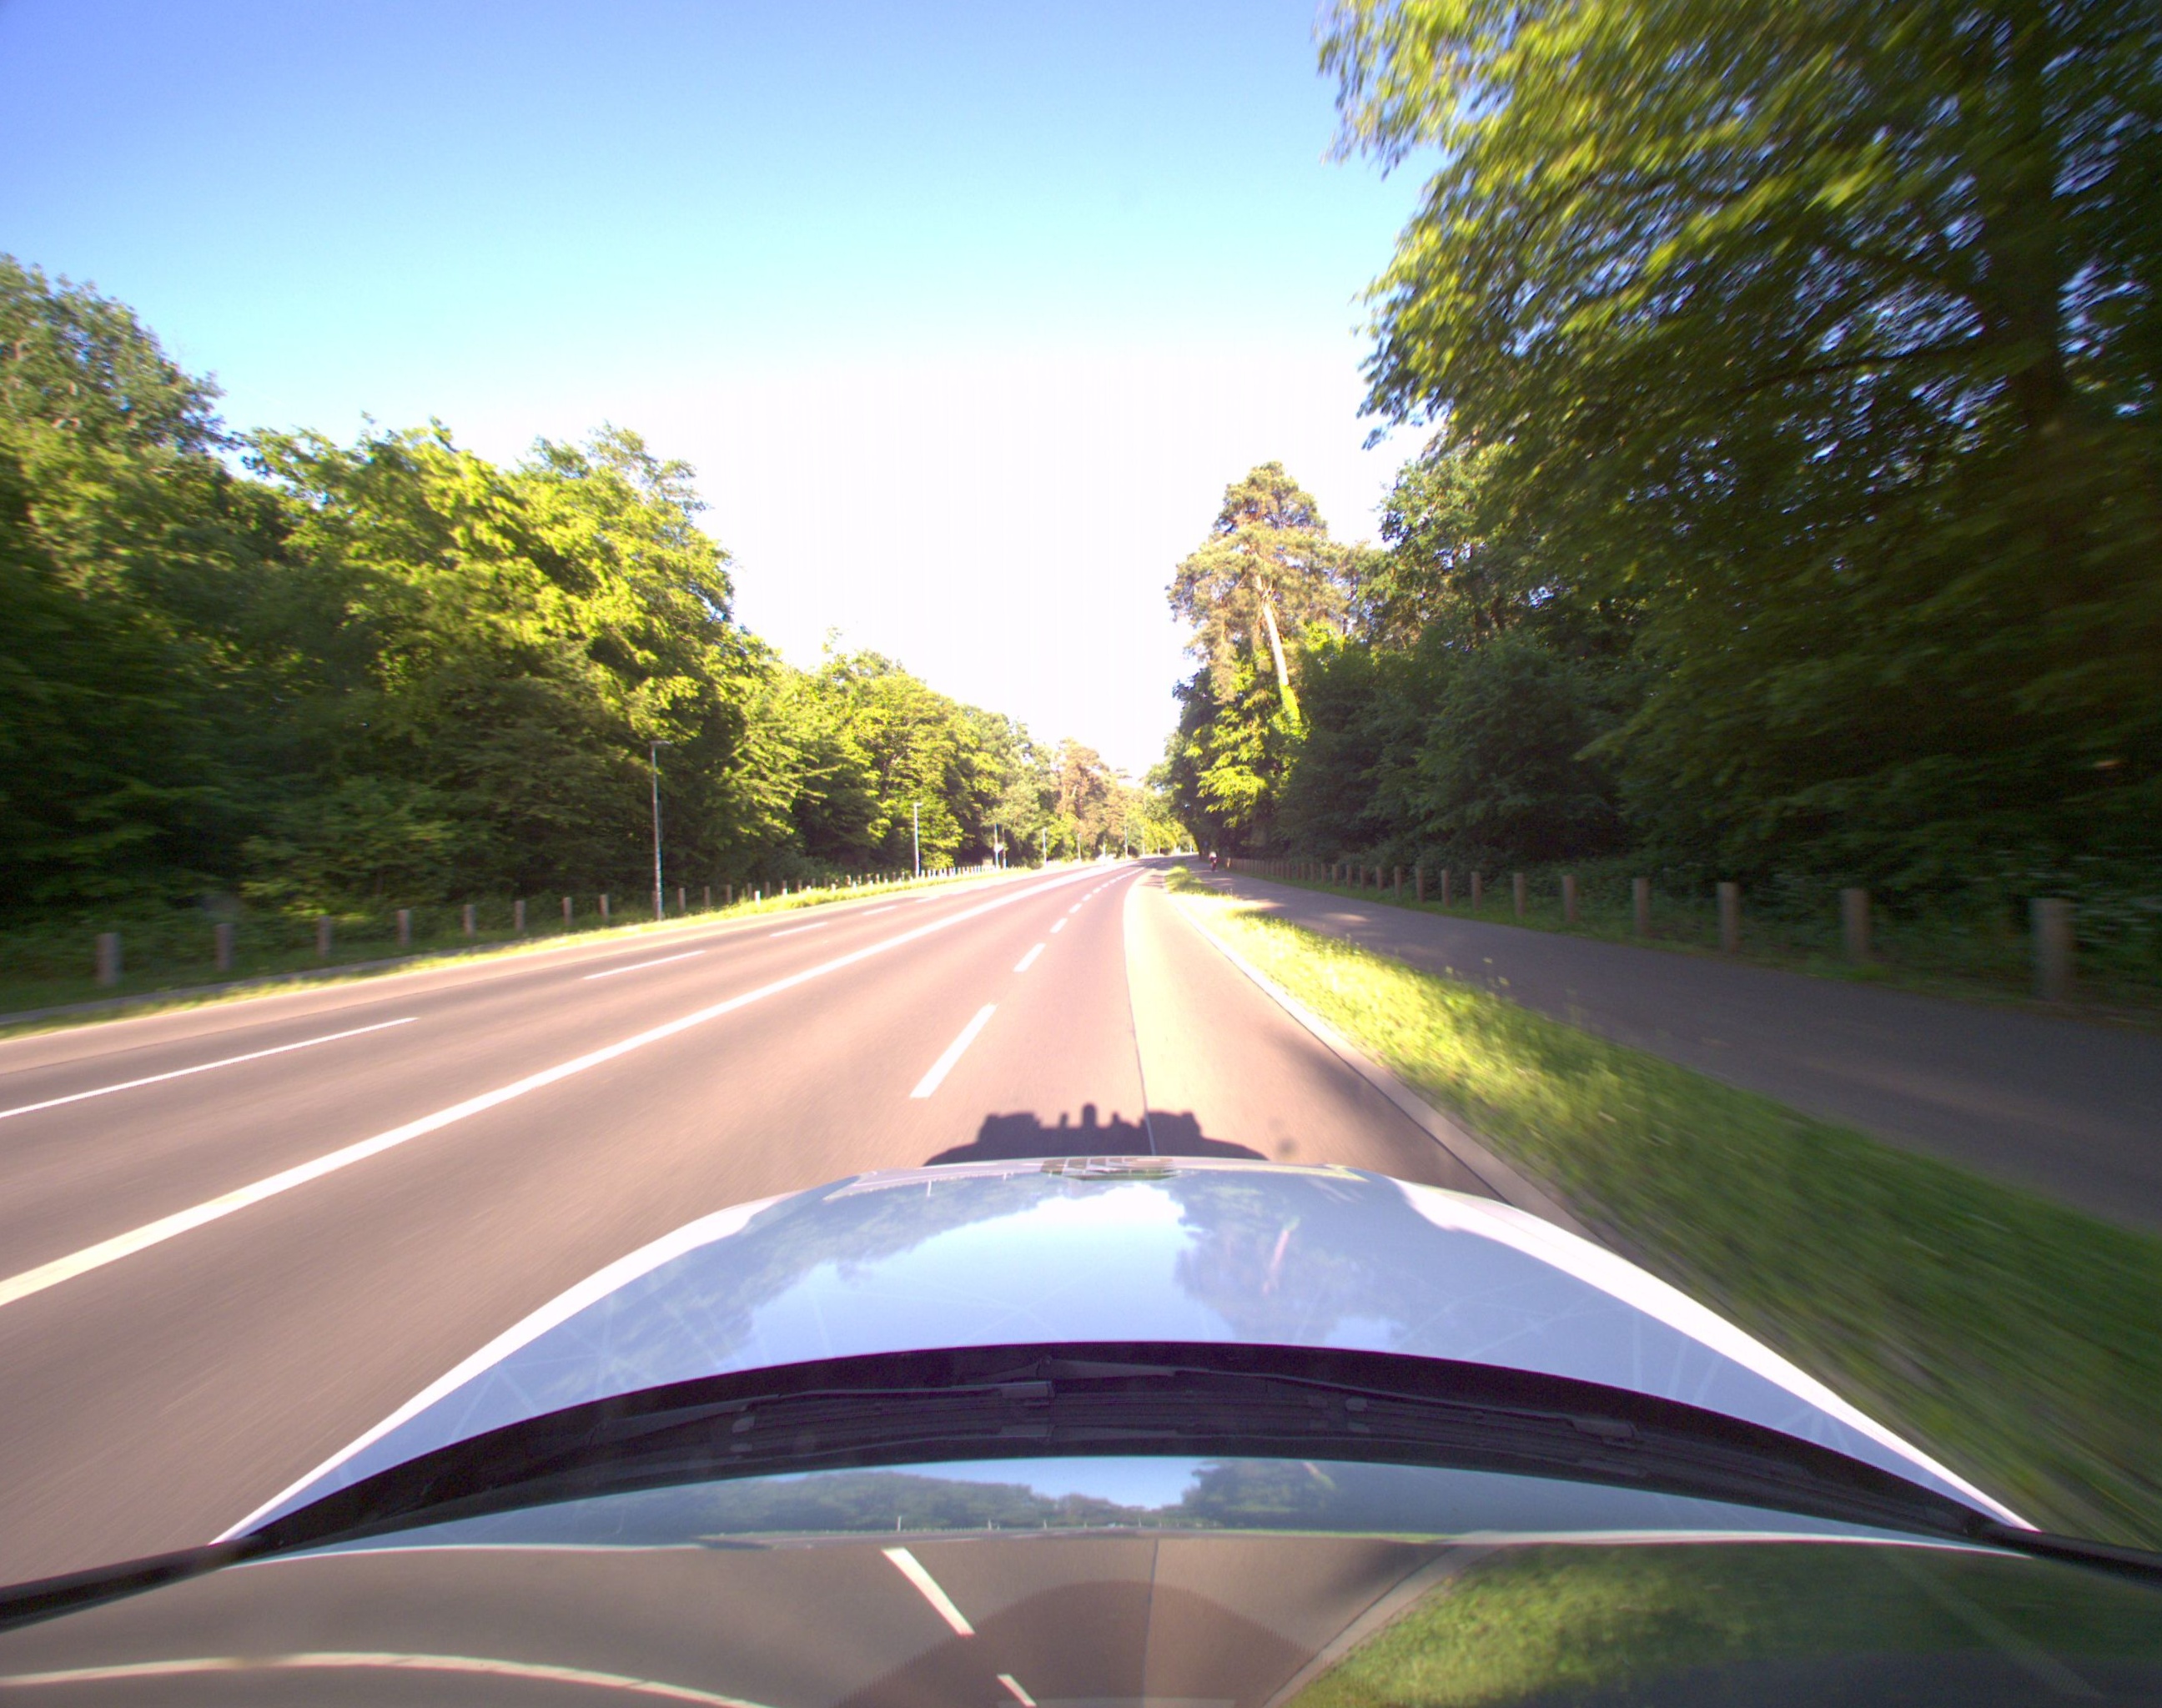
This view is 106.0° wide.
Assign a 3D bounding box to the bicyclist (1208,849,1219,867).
[{"bbox_3d":[9.819,0.287,60.483,0.708,1.289,1.106,-2,-1,7],"label":"bicyclist"}]

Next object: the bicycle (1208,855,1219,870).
[{"bbox_3d":[9.815,0.649,60.404,0.708,1.056,2.057,-2,-1,7],"label":"bicycle"}]
